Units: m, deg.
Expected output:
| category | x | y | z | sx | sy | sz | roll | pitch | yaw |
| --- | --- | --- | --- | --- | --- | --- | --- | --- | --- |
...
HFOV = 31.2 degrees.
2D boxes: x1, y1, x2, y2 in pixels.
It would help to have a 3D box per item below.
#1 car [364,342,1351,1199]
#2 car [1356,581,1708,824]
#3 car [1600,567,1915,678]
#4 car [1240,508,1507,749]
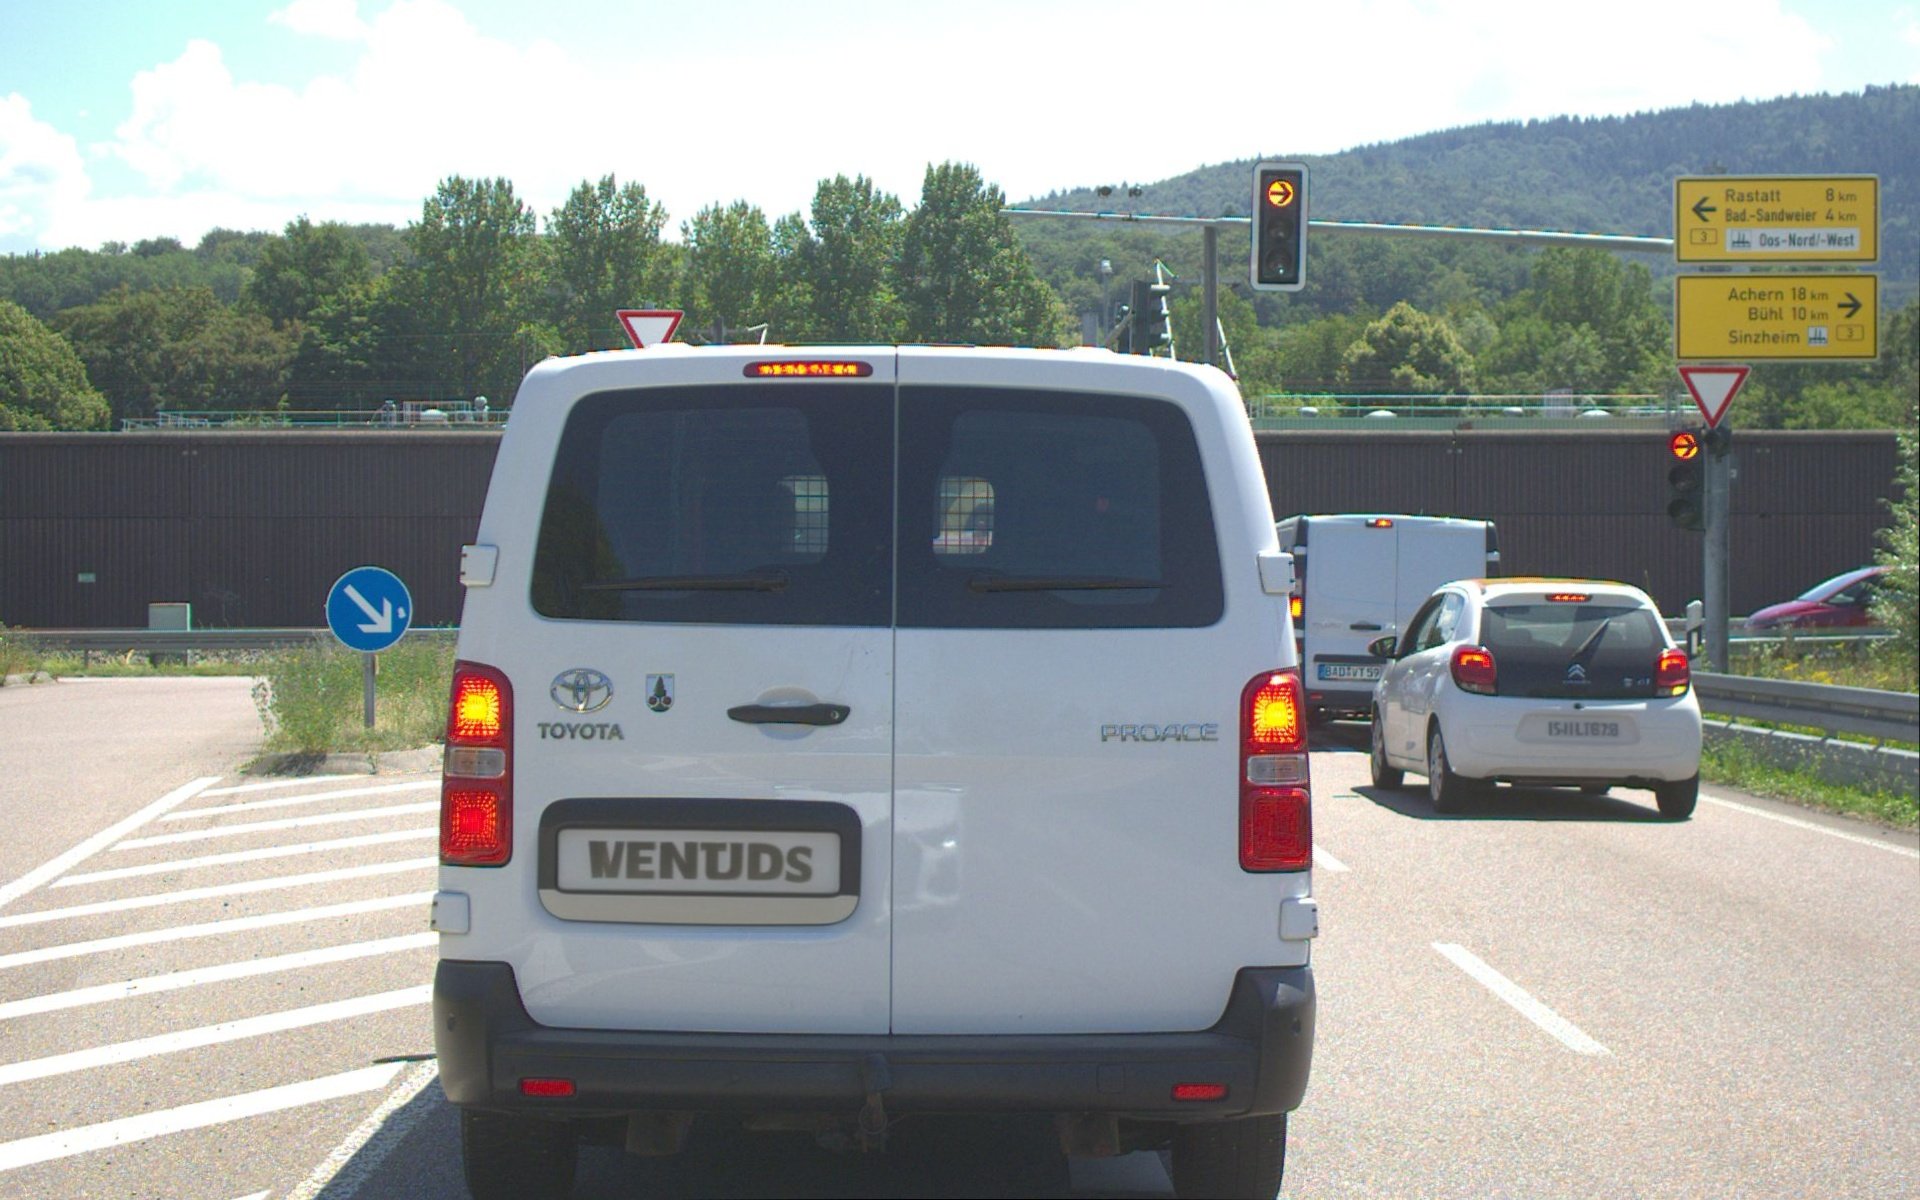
| category | x | y | z | sx | sy | sz | roll | pitch | yaw |
| --- | --- | --- | --- | --- | --- | --- | --- | --- | --- |
| car | -0.226 | 0.441 | 8.651 | 1.886 | 1.880 | 4.000 | 1 | 0 | -1 |
| car | 3.616 | 0.603 | 22.255 | 1.656 | 1.426 | 3.366 | 1 | 0 | -1 |
| car | 12.202 | 0.327 | 52.761 | 4.309 | 1.651 | 2.000 | 0 | 0 | -3 |
| car | 3.654 | 0.222 | 31.188 | 1.928 | 1.993 | 4.837 | 1 | 0 | 1 |
